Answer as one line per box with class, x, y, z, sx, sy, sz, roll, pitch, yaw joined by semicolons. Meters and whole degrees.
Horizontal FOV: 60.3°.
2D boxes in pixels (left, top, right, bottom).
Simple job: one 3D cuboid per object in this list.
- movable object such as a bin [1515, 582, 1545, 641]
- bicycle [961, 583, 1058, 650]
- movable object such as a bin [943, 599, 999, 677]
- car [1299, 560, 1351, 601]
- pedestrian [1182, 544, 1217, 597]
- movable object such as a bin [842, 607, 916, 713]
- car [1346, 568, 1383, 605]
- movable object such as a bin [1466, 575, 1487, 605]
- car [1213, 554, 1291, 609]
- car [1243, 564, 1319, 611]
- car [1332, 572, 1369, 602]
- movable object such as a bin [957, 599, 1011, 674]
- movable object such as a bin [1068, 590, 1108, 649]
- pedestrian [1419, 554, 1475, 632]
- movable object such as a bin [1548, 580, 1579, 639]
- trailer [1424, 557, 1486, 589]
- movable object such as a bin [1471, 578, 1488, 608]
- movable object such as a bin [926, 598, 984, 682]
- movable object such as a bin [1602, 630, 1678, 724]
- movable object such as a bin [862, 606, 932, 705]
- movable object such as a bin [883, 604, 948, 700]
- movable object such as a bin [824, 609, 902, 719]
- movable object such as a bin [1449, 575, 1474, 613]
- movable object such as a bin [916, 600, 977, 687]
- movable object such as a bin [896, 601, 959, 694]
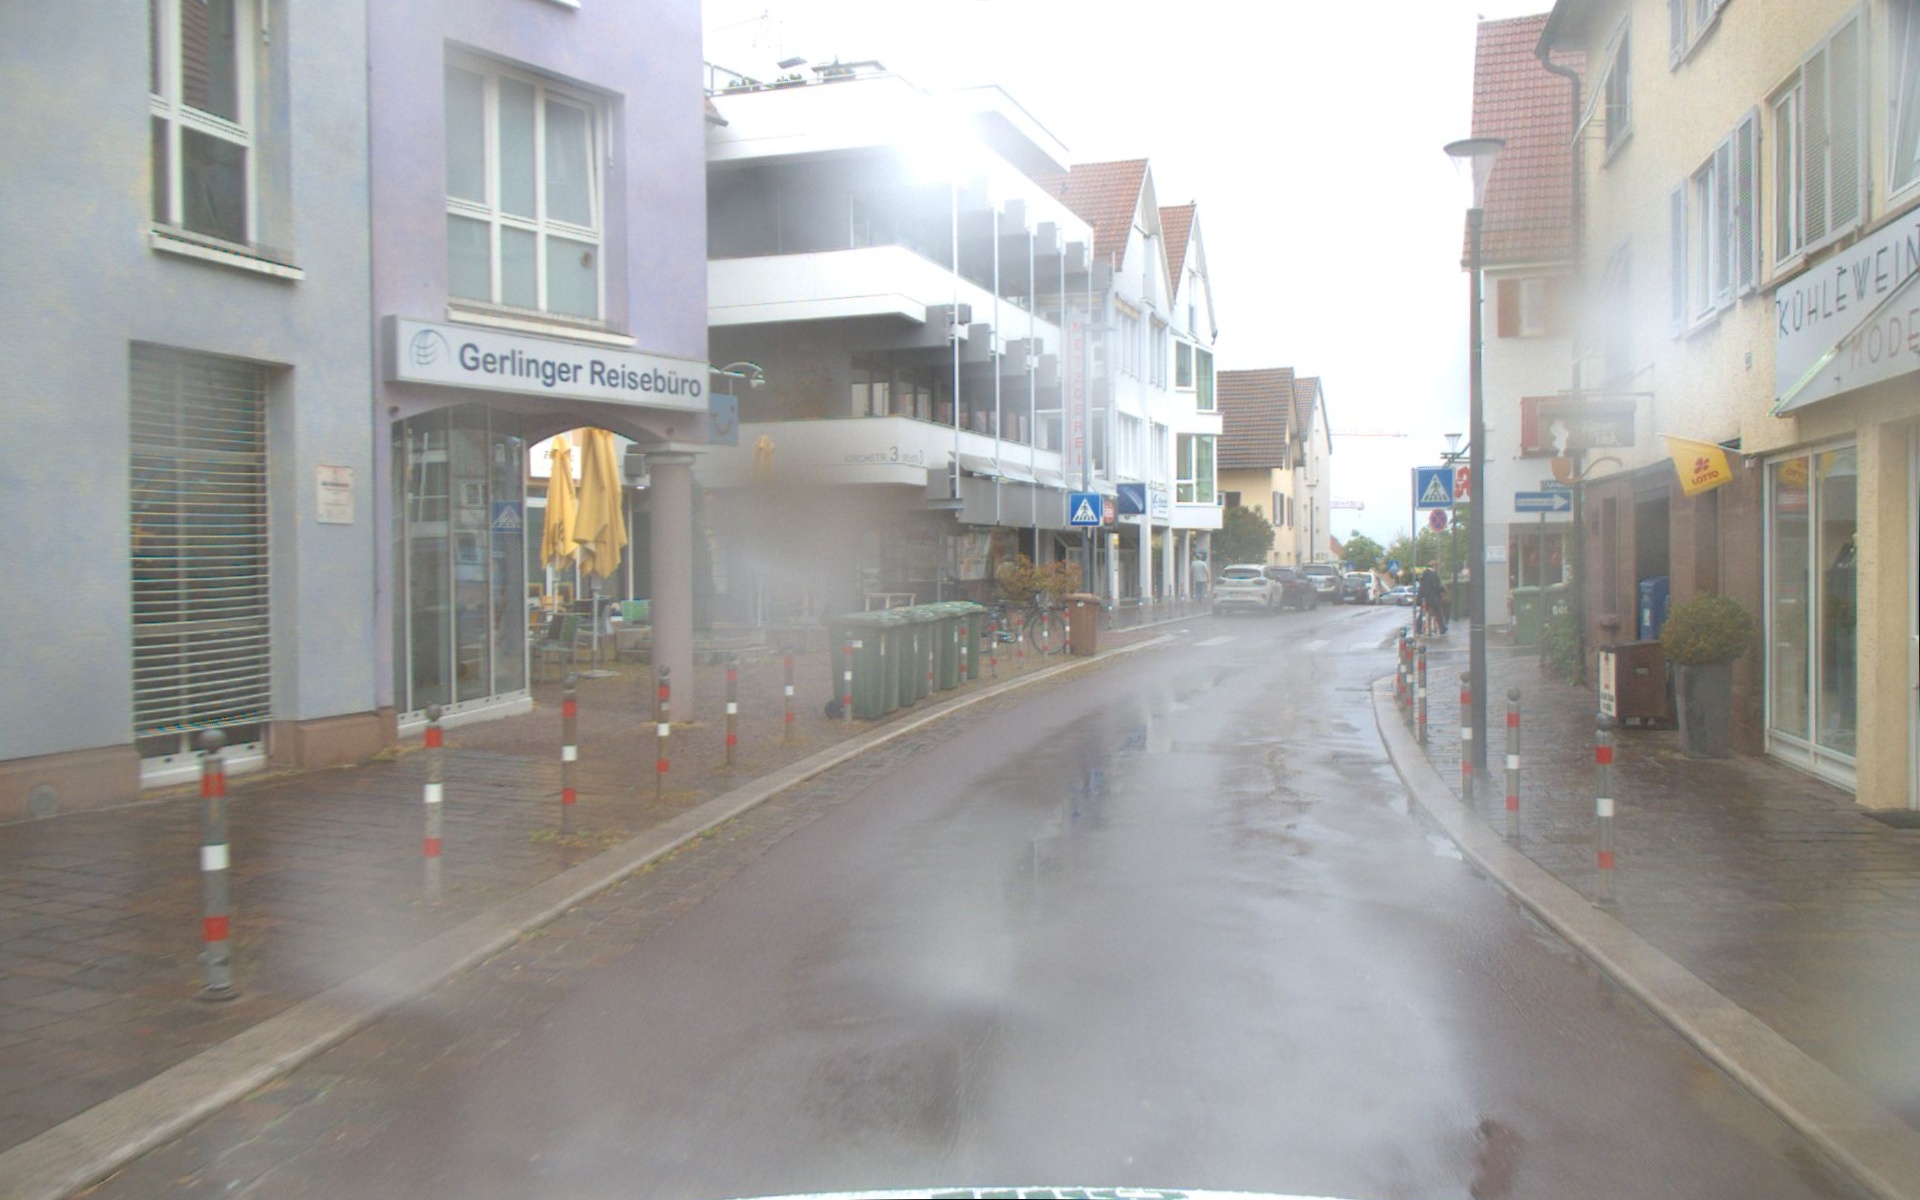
movable object such as a bin;10.686;0.215;30.996;0.490;1.075;0.549;-2;-2;19
bicycle;0.872;0.298;29.494;1.710;1.185;0.444;0;-1;-1
movable object such as a bin;0.157;0.520;23.197;0.672;1.060;0.670;0;1;10
car;15.107;-0.780;68.275;1.742;1.596;4.410;0;-1;17
pedestrian;8.368;-1.028;57.845;1.013;1.837;1.116;1;1;19
movable object such as a bin;-0.878;0.642;18.053;0.672;1.106;0.713;0;1;10
car;21.187;-0.667;86.585;1.687;1.857;4.431;0;-1;17
movable object such as a bin;20.118;-0.382;64.428;0.787;1.151;0.863;0;-1;18
car;8.974;-0.541;50.565;1.754;1.578;4.001;1;0;19
car;10.968;-0.452;56.333;1.792;1.525;4.764;-1;1;20
car;19.149;-0.627;81.024;1.645;1.413;3.828;0;-1;16
movable object such as a bin;0.351;0.522;23.886;0.672;1.057;0.670;0;1;10
movable object such as a bin;2.280;0.339;29.533;0.672;1.038;0.632;0;1;2
pedestrian;11.042;-0.162;37.538;1.152;1.727;1.178;-2;0;16
movable object such as a bin;11.234;0.173;30.808;0.490;1.075;0.549;-2;-2;19
trailer;47.623;-2.571;159.323;5.658;2.999;2.001;0;-1;14
movable object such as a bin;22.798;-0.294;72.601;0.625;1.313;0.632;0;-1;24
movable object such as a bin;-0.058;0.531;22.341;0.672;1.095;0.670;0;1;10
movable object such as a bin;6.709;0.751;16.354;0.534;0.850;0.911;-2;1;14
movable object such as a bin;-0.719;0.624;18.957;0.672;1.100;0.670;0;1;10
movable object such as a bin;-0.533;0.619;20.050;0.672;1.124;0.670;0;1;10
movable object such as a bin;-1.010;0.657;17.315;0.672;1.097;0.678;0;1;10
movable object such as a bin;15.011;-0.184;49.514;0.662;1.105;0.718;0;0;21
movable object such as a bin;-0.169;0.554;21.467;0.672;1.092;0.670;0;1;10
movable object such as a bin;-0.408;0.583;20.767;0.672;1.124;0.670;0;1;10
